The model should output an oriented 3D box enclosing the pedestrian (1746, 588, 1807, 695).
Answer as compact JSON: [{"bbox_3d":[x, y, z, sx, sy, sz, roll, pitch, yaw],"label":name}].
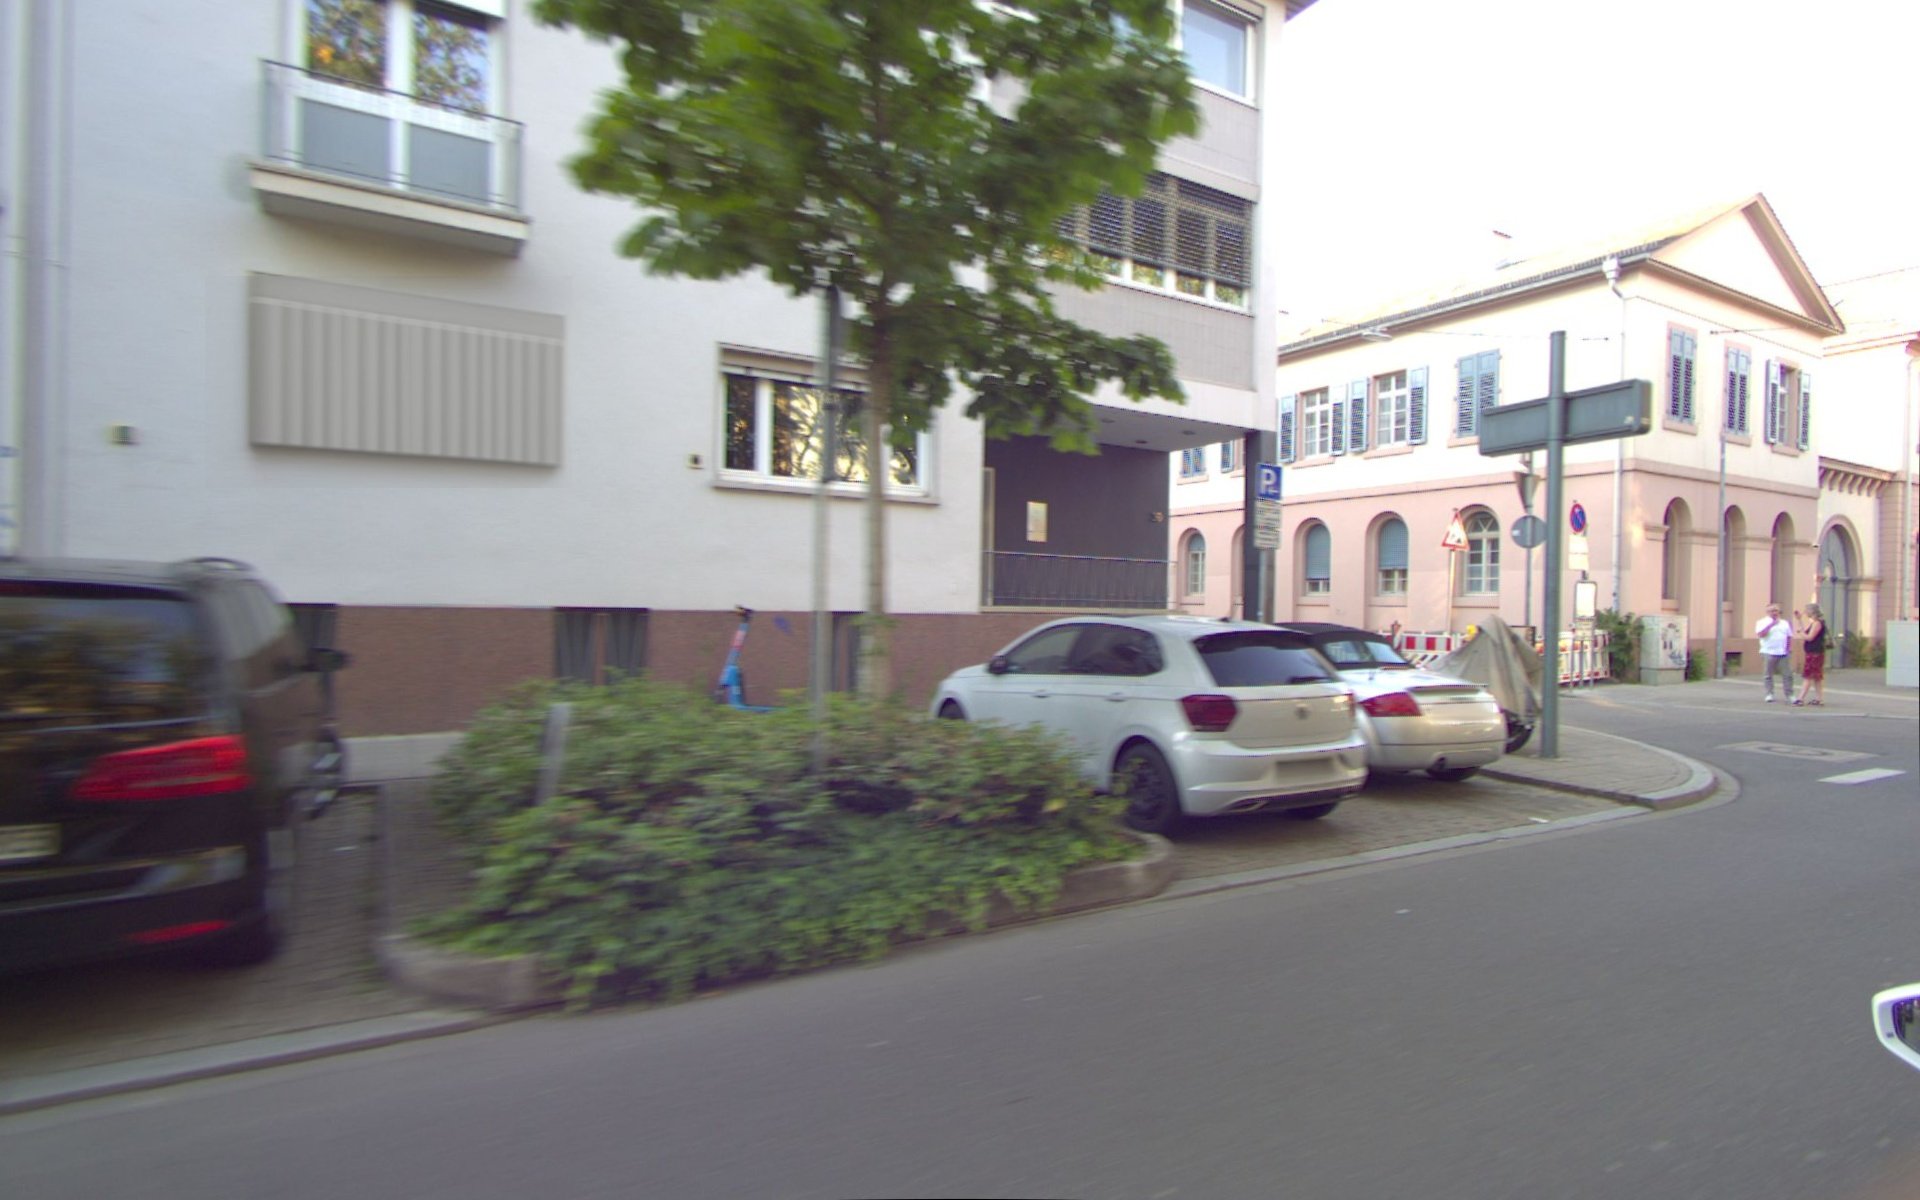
[{"bbox_3d":[14.547,0.730,17.903,0.602,1.875,0.554,1,1,-16],"label":"pedestrian"}]

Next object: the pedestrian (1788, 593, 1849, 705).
[{"bbox_3d":[14.774,0.826,17.295,0.601,1.875,0.554,-1,1,-16],"label":"pedestrian"}]

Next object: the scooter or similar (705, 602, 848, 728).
[{"bbox_3d":[-1.975,0.688,10.836,1.402,1.278,0.513,2,1,-27],"label":"scooter or similar"}]

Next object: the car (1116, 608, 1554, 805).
[{"bbox_3d":[3.352,0.847,9.721,1.820,1.329,3.727,1,2,-26],"label":"car"}]

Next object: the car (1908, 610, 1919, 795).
[{"bbox_3d":[10.397,0.896,8.806,4.223,1.569,1.869,1,-1,-29],"label":"car"}]

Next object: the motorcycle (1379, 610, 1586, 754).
[{"bbox_3d":[5.724,0.843,11.203,0.950,1.438,2.152,1,-1,-9],"label":"motorcycle"}]

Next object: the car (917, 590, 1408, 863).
[{"bbox_3d":[1.306,0.739,7.913,1.715,1.478,3.722,1,2,-31],"label":"car"}]

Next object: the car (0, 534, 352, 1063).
[{"bbox_3d":[-4.145,0.575,4.808,1.912,1.654,4.075,0,1,-29],"label":"car"}]
